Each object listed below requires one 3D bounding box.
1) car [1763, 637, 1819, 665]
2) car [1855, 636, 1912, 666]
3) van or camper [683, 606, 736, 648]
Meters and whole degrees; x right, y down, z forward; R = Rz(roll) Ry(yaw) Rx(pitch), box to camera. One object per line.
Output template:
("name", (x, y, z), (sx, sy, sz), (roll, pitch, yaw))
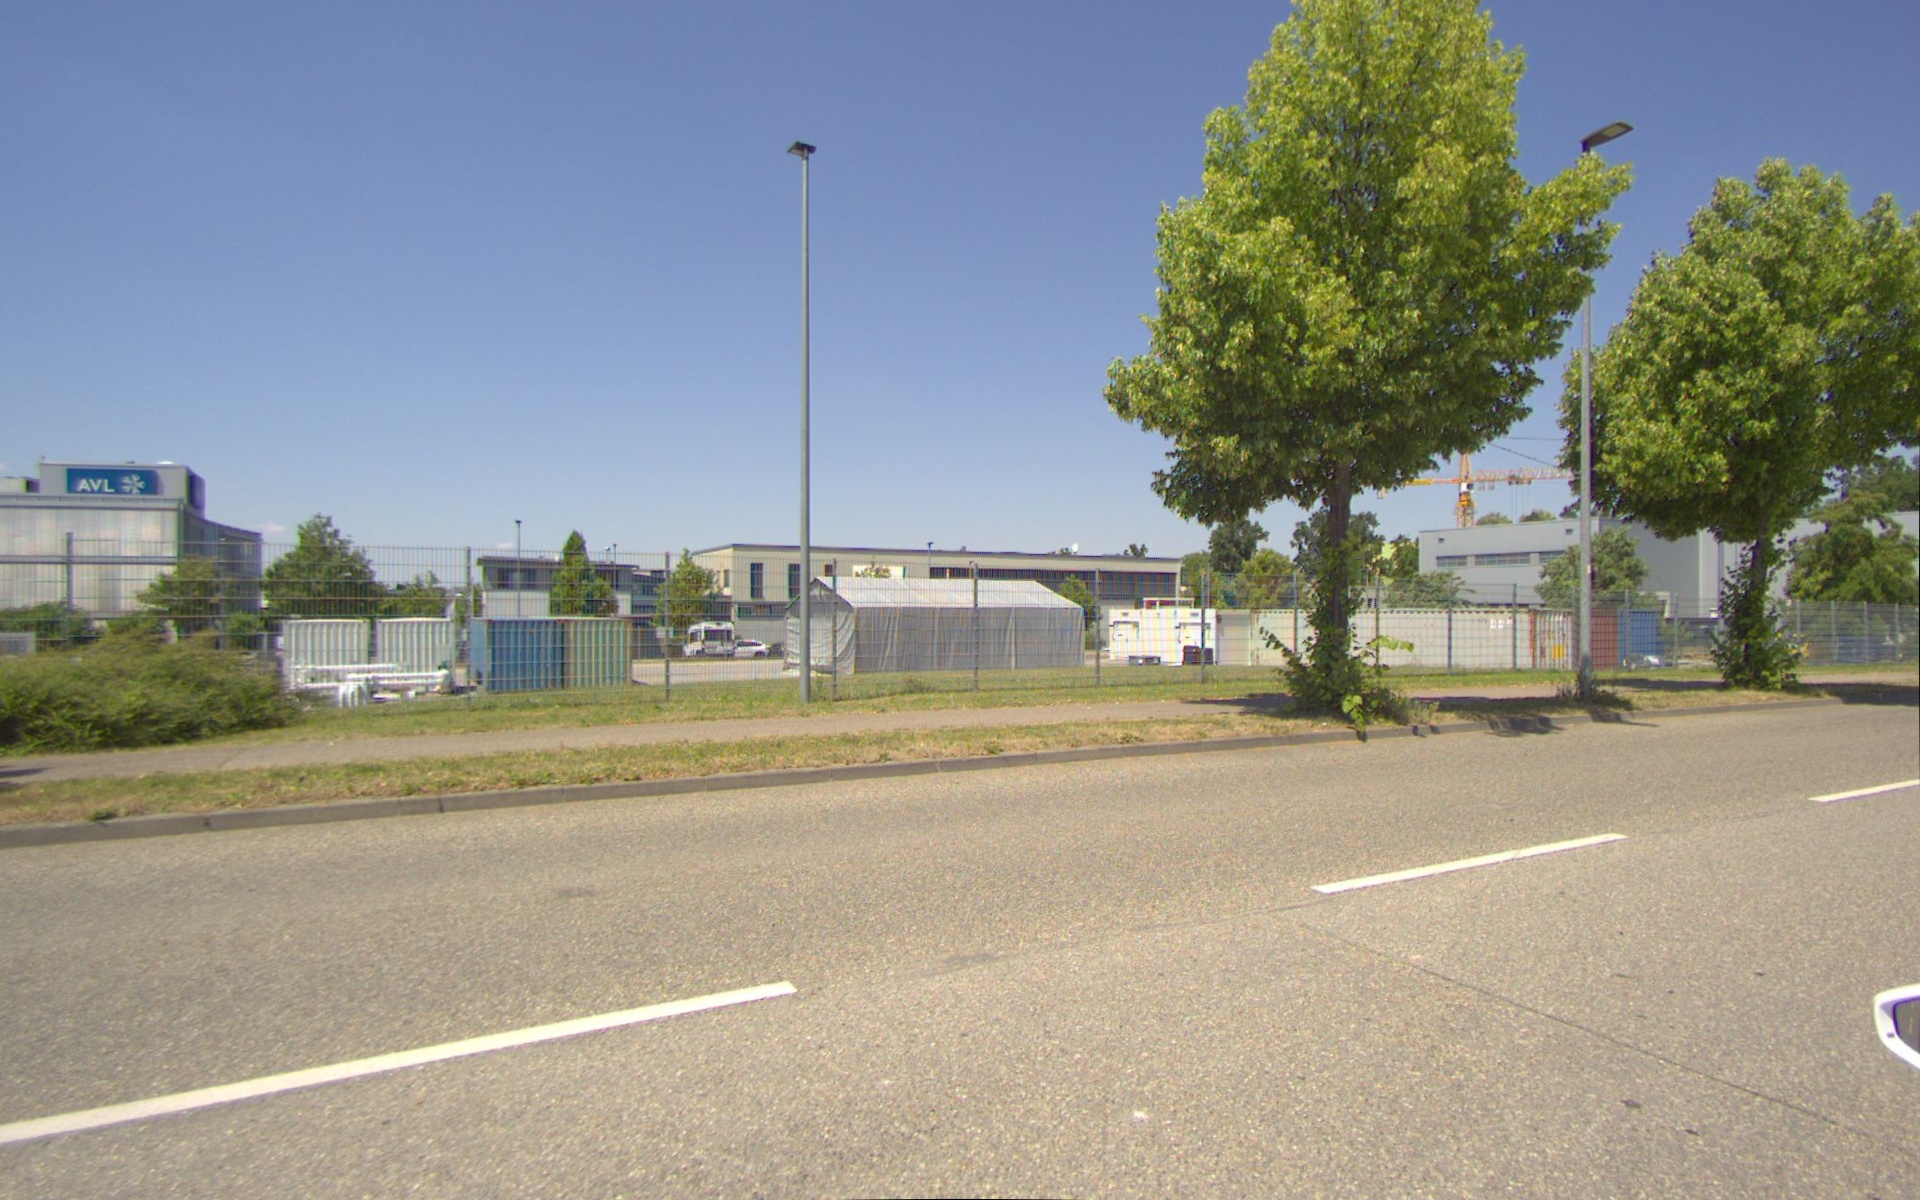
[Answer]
("car", (56.409, 3.457, 68.176), (3.962, 1.572, 1.980), (-3, 0, -37))
("car", (59.212, 3.246, 64.384), (3.962, 1.572, 1.980), (-3, 0, -37))
("van or camper", (-15.286, 1.675, 61.086), (1.976, 2.374, 4.266), (-3, 0, -29))
